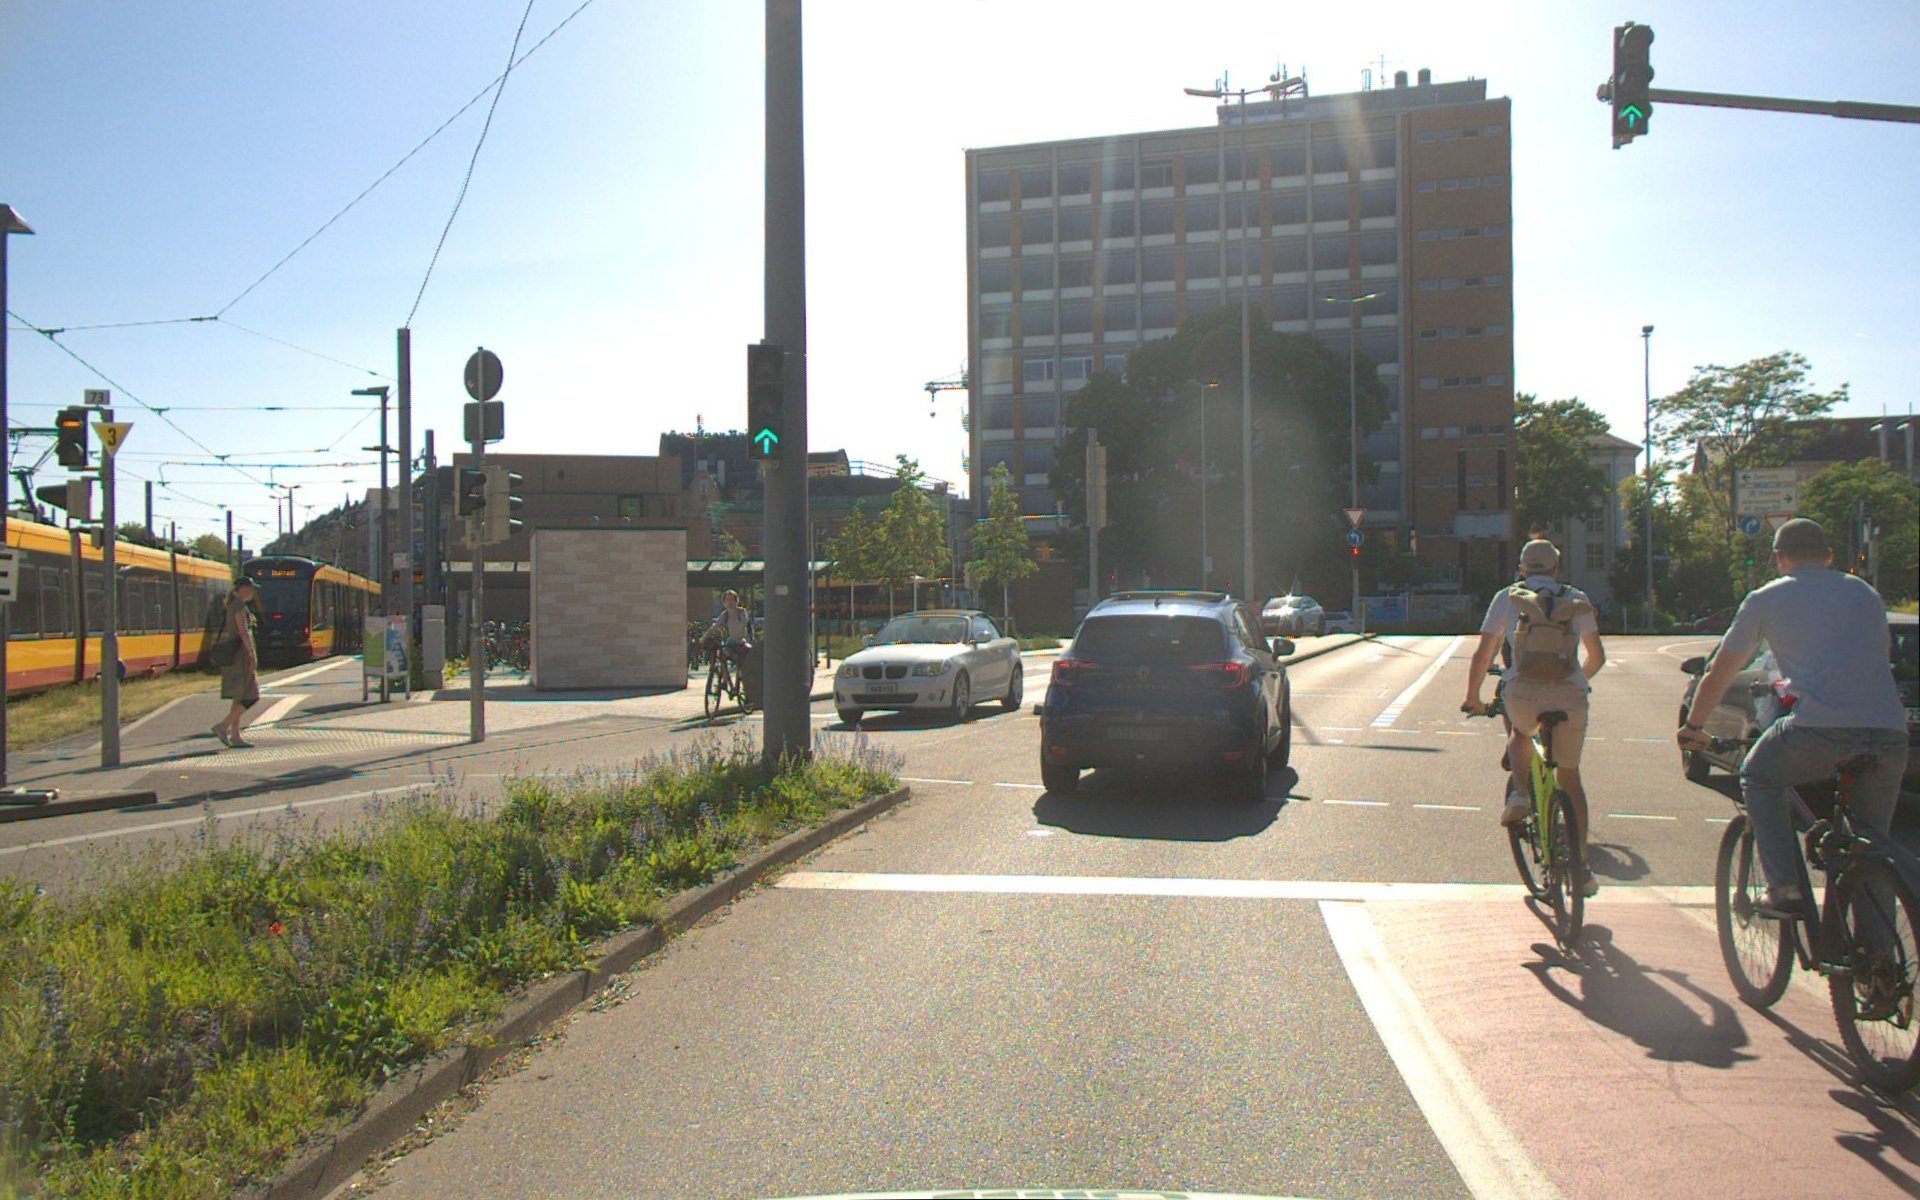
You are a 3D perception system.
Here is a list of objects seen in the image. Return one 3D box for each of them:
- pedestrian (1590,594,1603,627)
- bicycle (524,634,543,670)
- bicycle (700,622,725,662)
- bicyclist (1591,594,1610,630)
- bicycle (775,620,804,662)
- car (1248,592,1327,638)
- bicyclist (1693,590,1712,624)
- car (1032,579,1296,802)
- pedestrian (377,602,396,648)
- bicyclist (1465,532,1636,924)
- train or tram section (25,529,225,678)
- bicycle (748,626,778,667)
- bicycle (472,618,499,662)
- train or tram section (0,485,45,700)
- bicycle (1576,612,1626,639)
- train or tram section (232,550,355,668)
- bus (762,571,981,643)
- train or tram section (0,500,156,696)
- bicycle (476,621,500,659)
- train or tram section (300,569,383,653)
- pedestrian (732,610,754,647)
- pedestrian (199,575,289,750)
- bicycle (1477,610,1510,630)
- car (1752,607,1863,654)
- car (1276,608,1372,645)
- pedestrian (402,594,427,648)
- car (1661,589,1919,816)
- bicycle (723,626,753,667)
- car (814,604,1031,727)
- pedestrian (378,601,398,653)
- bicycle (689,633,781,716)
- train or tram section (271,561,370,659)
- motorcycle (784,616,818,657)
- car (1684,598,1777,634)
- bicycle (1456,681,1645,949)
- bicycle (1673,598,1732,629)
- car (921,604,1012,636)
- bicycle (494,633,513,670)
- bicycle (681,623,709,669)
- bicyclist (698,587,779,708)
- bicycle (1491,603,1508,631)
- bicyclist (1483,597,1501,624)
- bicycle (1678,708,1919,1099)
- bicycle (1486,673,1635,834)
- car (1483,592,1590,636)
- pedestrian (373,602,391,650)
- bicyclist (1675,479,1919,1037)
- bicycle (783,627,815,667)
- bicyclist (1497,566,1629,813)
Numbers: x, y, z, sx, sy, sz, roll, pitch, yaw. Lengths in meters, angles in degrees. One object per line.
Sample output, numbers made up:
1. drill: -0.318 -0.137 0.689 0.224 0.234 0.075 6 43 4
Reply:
1. pedestrian: 32.881 0.536 85.435 0.546 1.699 0.475 -1 -2 34
2. bicycle: -11.603 1.400 44.949 0.415 0.954 1.299 1 -1 -18
3. bicycle: -6.883 1.168 45.955 0.570 1.107 2.052 1 -2 -11
4. bicyclist: 34.222 0.636 88.389 0.839 1.879 0.850 -1 -2 27
5. bicycle: -4.422 1.068 42.800 0.570 1.070 1.966 1 -2 -11
6. car: 12.743 0.561 64.224 1.783 1.596 4.243 -3 -1 29
7. bicyclist: 38.382 0.353 85.502 0.840 1.722 0.884 0 -2 22
8. car: 1.874 0.679 14.202 1.784 1.628 3.661 1 0 14
9. pedestrian: -23.666 1.043 68.259 0.621 1.889 0.701 1 -2 -12
10. bicyclist: 2.864 0.582 8.096 0.649 1.778 1.006 1 0 13
11. train or tram section: -22.568 0.146 45.404 2.771 3.569 11.160 1 -1 -16
12. bicycle: -4.831 1.143 40.494 0.570 0.978 2.052 1 -2 -11
13. bicycle: -12.284 1.034 42.861 0.556 1.113 2.022 1 -2 -13
14. train or tram section: -16.671 -0.133 25.076 2.773 3.569 10.428 -1 0 -17
15. bicycle: 34.227 1.363 88.369 2.403 1.394 0.850 -1 -2 28
16. train or tram section: -22.182 0.325 55.548 2.825 3.569 10.493 0 -1 -17
17. bus: -4.684 0.457 84.282 12.202 3.456 2.870 -1 -2 37
18. train or tram section: -19.600 -0.002 35.042 2.771 3.569 10.564 1 -1 -16
19. bicycle: -13.997 1.199 49.076 0.556 1.113 2.022 1 -2 -13
20. train or tram section: -28.128 0.502 75.619 2.825 3.569 10.493 0 0 -17
21. pedestrian: -10.382 1.369 79.141 0.642 1.772 0.785 -1 -2 34
22. pedestrian: -7.996 0.674 18.480 0.887 1.882 0.758 -1 2 -24
23. bicycle: 29.673 1.110 91.983 1.632 1.112 0.611 -1 0 -1
24. car: 37.448 1.355 73.144 4.288 2.049 1.997 -1 -2 28
25. car: 19.234 1.407 87.459 4.572 1.933 1.992 -1 -2 36
26. pedestrian: -19.799 0.765 60.009 0.834 1.916 0.756 1 -2 -19
27. car: 6.978 0.747 13.317 1.718 1.569 3.661 0 -1 11
28. bicycle: -5.426 1.136 40.373 0.570 0.978 2.052 1 -2 -11
29. car: -0.406 0.828 22.676 1.762 1.417 4.096 -1 1 17
30. pedestrian: -21.196 0.998 61.288 0.594 1.889 0.791 1 -2 -14
31. bicycle: -3.196 1.040 23.674 0.756 1.099 2.037 -1 -1 8
32. train or tram section: -25.158 0.406 65.513 2.825 3.569 10.493 0 -1 -17
33. motorcycle: -4.677 1.077 48.485 0.543 1.197 1.910 1 -2 -20
34. car: 36.321 0.778 77.938 3.822 1.614 1.876 -1 -2 30
35. bicycle: 2.862 0.981 8.171 0.648 1.065 1.892 1 0 13
36. bicycle: 38.359 0.685 85.508 2.744 1.568 0.884 0 -2 22
37. car: 0.335 1.035 84.478 4.322 1.548 1.963 -1 -2 36
38. bicycle: -12.312 1.386 44.576 0.415 0.954 1.299 1 -1 -18
39. bicycle: -6.405 1.117 39.941 0.570 1.076 1.811 1 -2 -11
40. bicyclist: -3.160 0.675 23.635 0.861 1.673 1.061 -1 -1 8
41. bicycle: 31.157 1.000 95.560 0.863 1.568 2.812 0 -2 17
42. bicyclist: 29.588 0.595 91.982 0.800 1.469 0.620 -1 0 0
43. bicycle: 3.120 0.990 5.975 0.598 1.096 1.831 0 -1 12
44. bicycle: 4.243 1.045 11.810 0.707 0.976 1.885 0 0 11
45. car: 27.471 0.680 78.851 4.561 2.049 1.997 -1 -2 28
46. pedestrian: -23.361 1.056 66.840 0.623 1.889 0.698 1 -2 -22
47. bicyclist: 3.056 0.514 5.888 0.733 1.807 1.015 0 -1 12
48. bicycle: -3.976 1.156 40.784 0.570 0.978 2.052 1 -2 -11
49. bicyclist: 4.235 0.599 11.683 0.706 1.654 1.056 1 0 11
